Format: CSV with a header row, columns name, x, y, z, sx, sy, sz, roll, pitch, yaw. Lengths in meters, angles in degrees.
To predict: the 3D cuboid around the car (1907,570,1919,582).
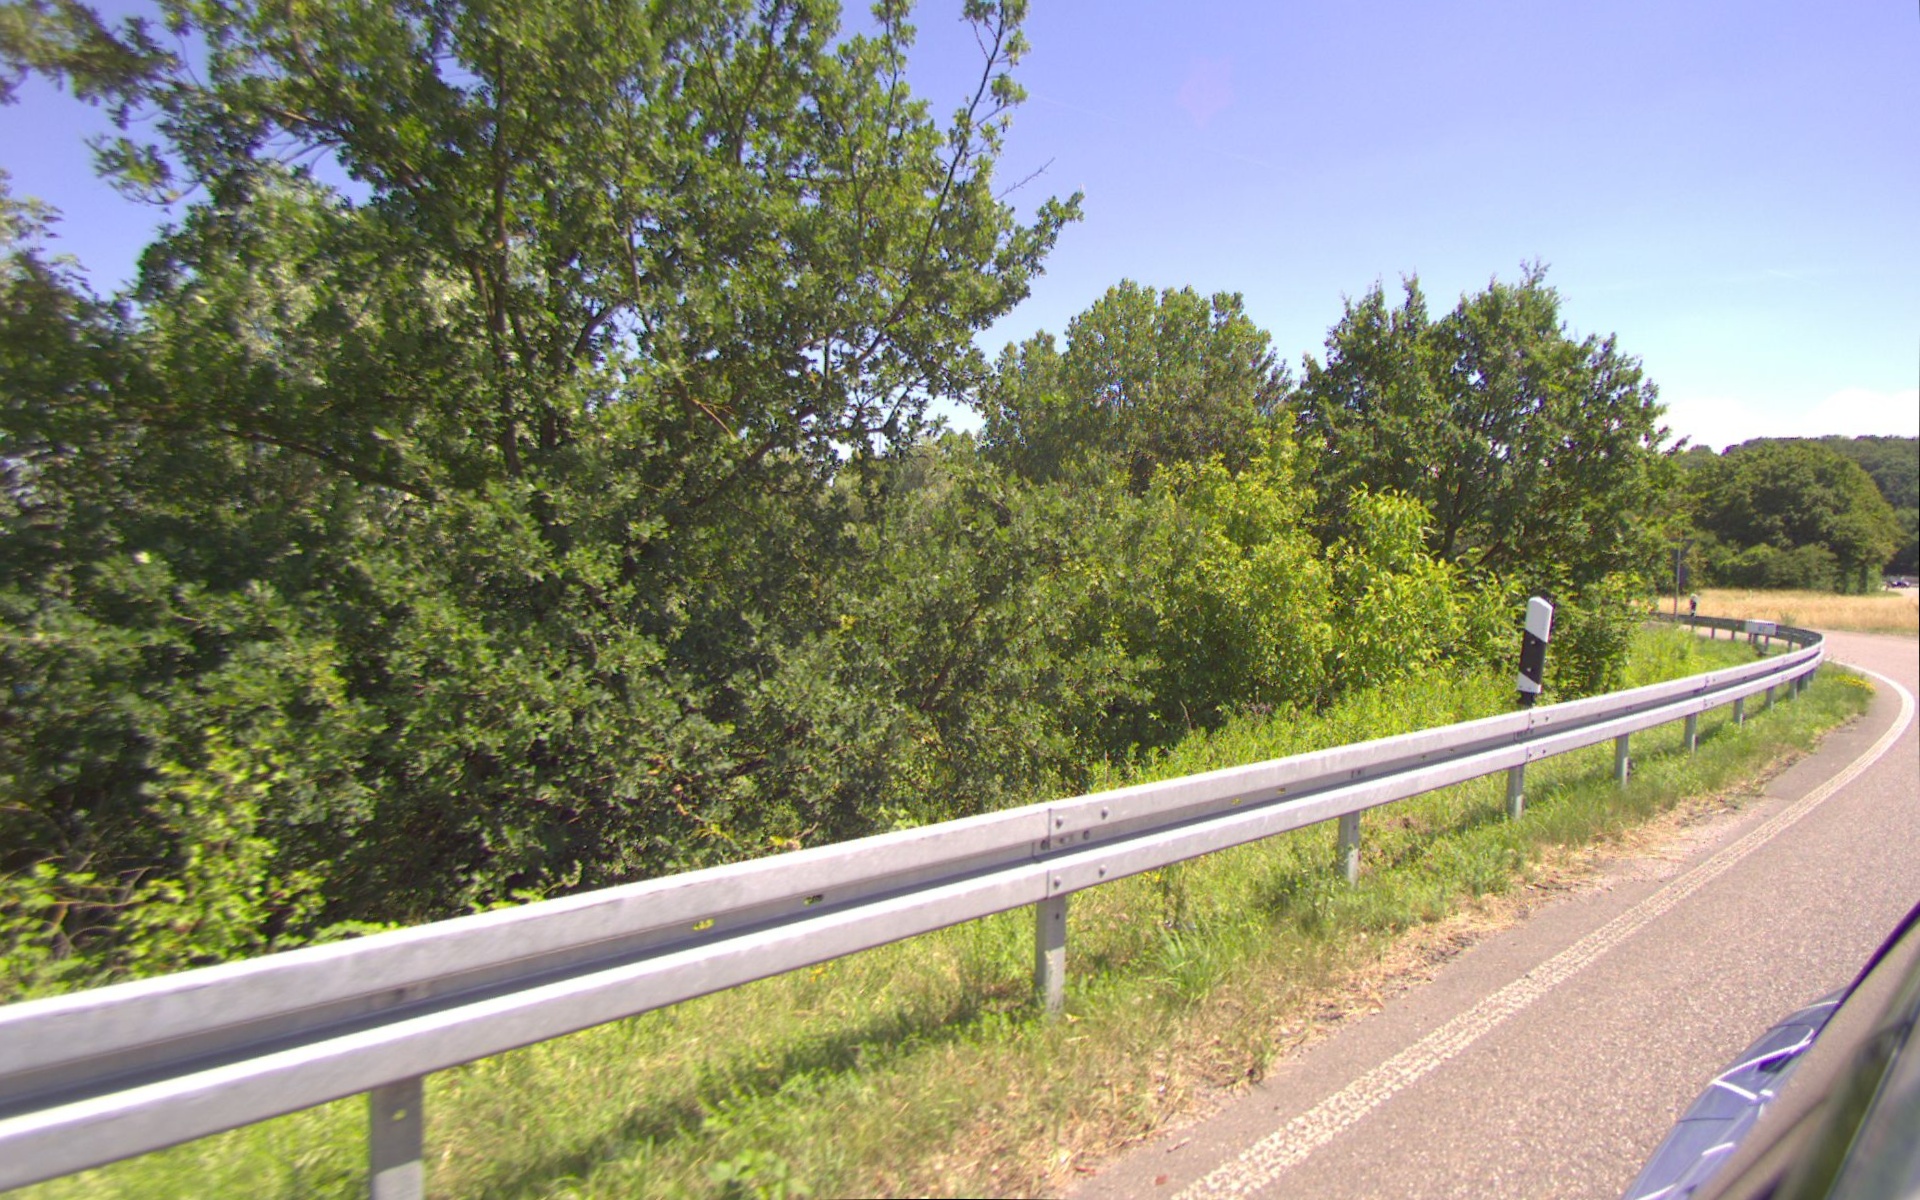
name,x,y,z,sx,sy,sz,roll,pitch,yaw
car,133.453,-3.319,141.155,1.871,1.623,3.938,2,3,44
